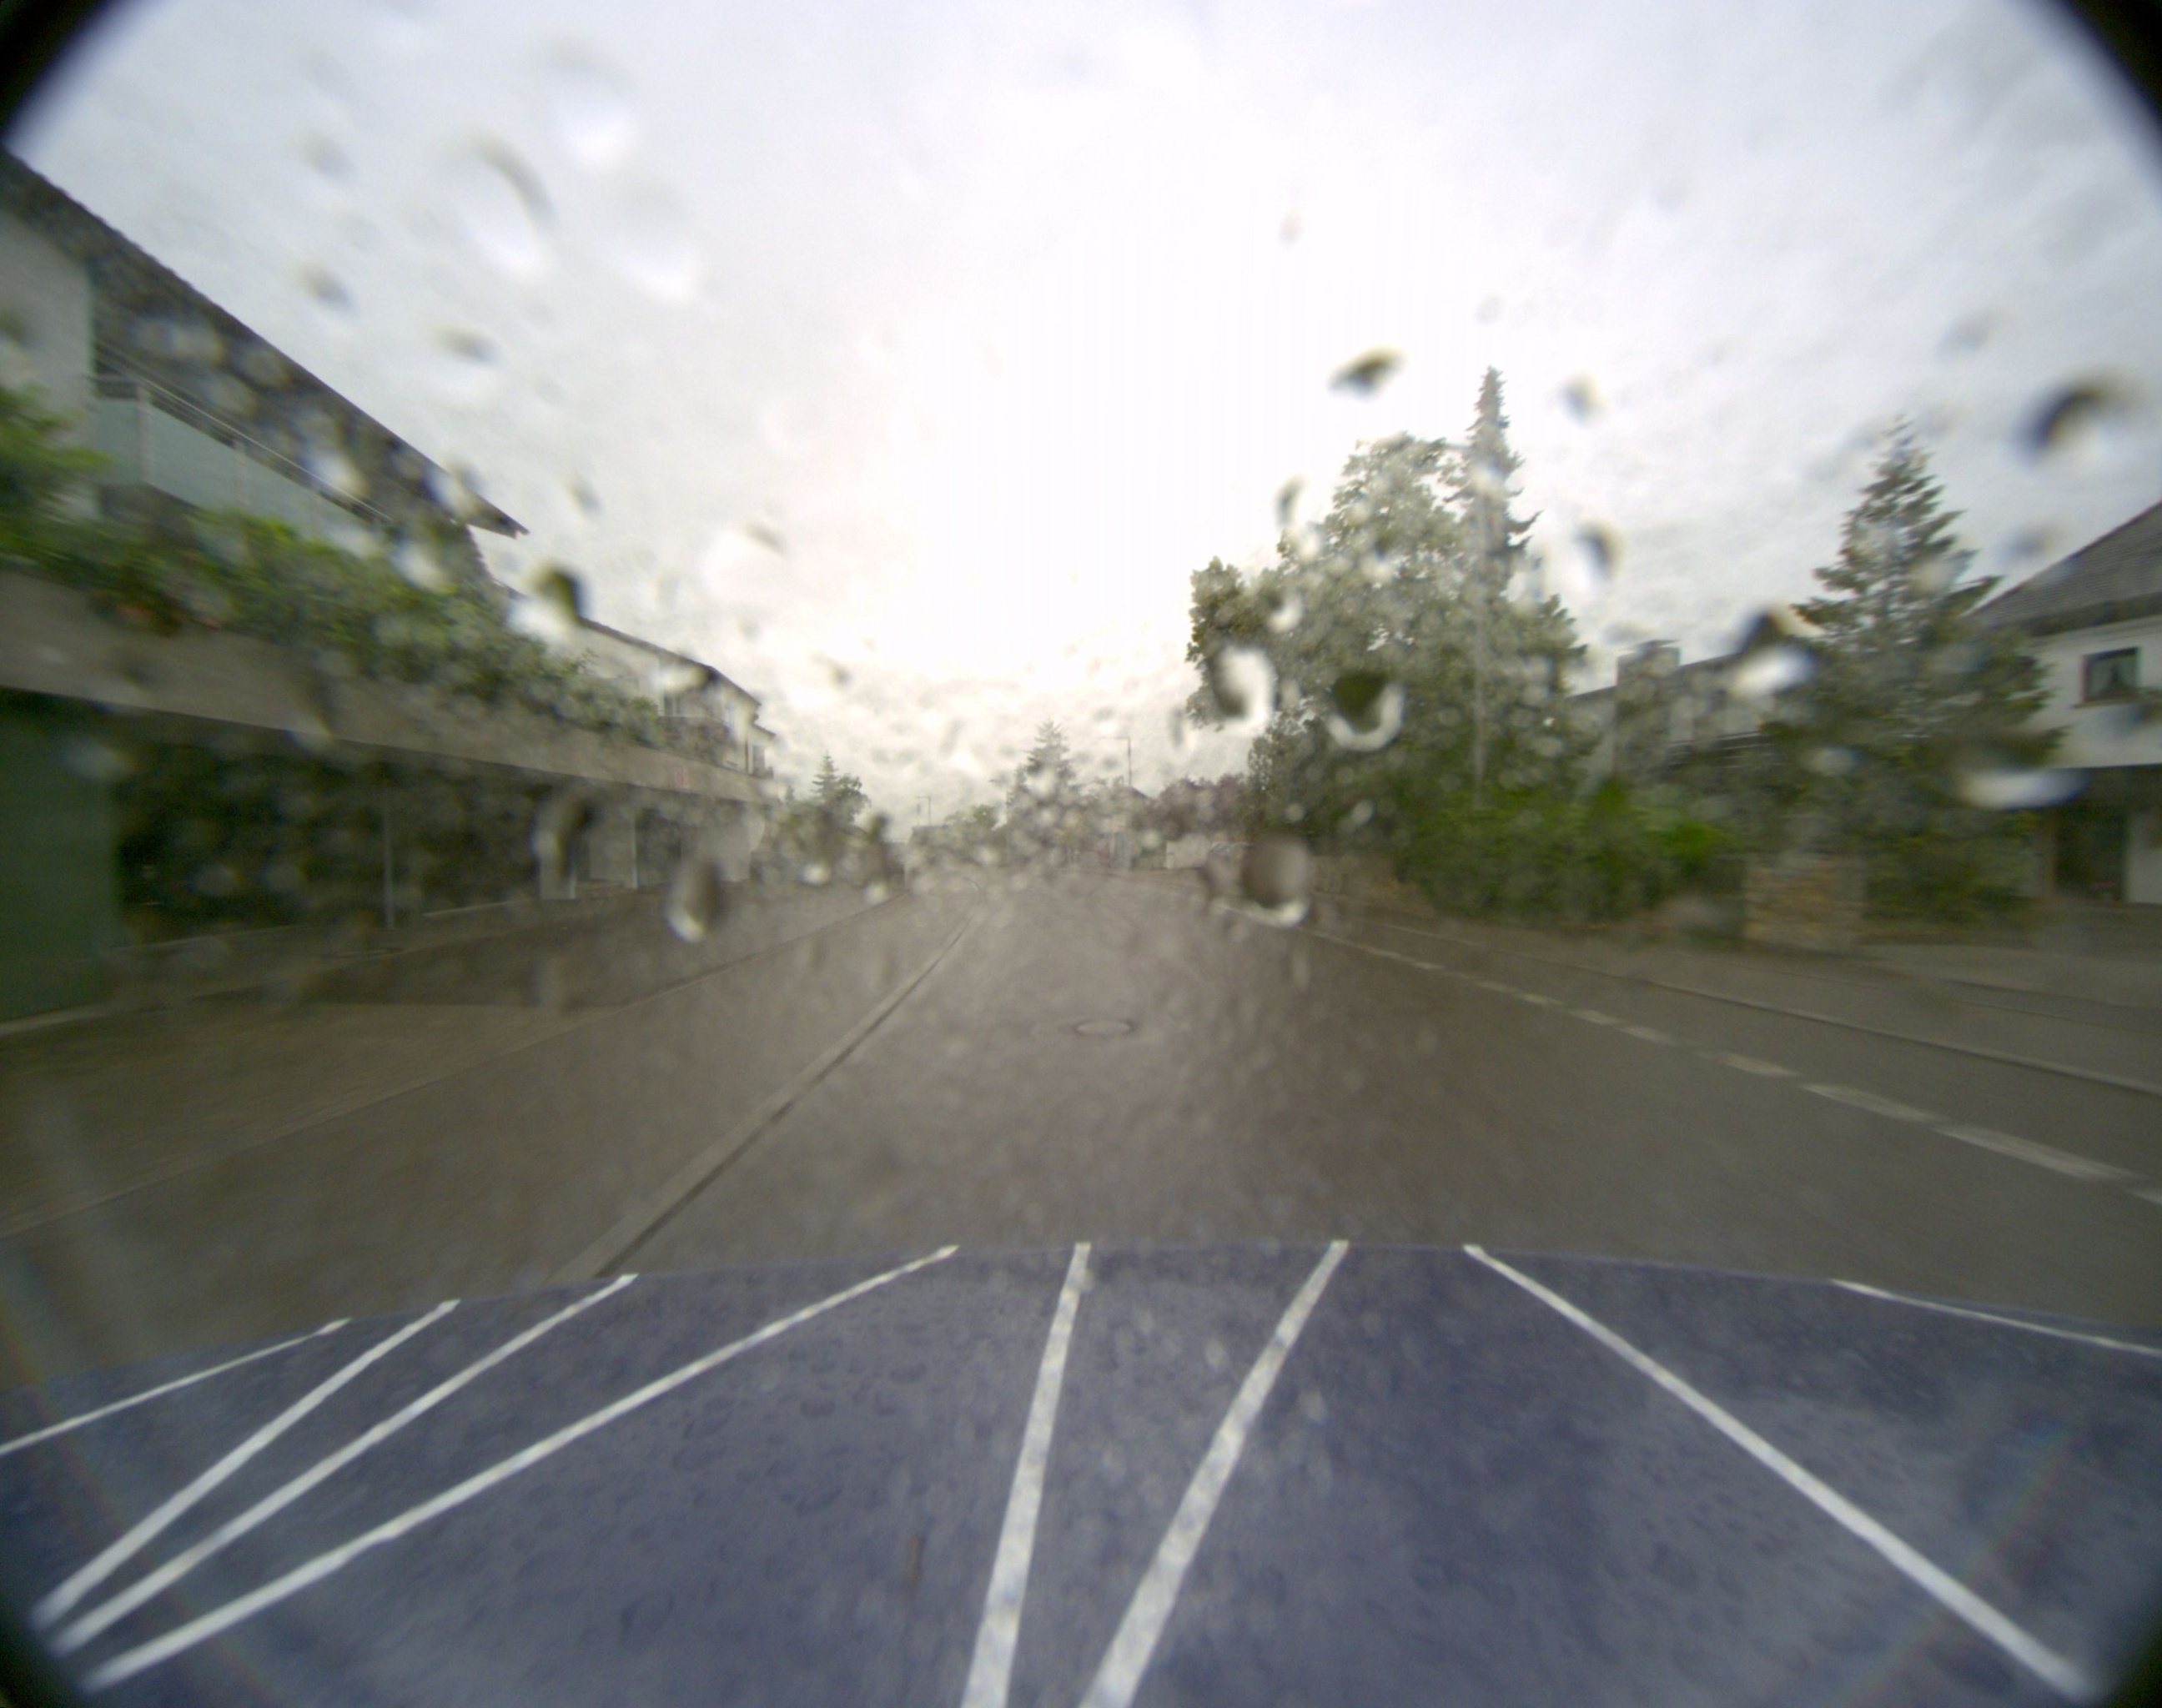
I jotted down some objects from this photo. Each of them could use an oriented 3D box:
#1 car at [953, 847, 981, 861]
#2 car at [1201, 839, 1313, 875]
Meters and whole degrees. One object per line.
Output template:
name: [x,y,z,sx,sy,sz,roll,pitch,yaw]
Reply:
car: [-13.409,0.003,89.173,3.038,1.472,1.454,-2,1,-1]
car: [7.930,0.115,34.275,4.556,1.467,1.837,-2,1,-12]
